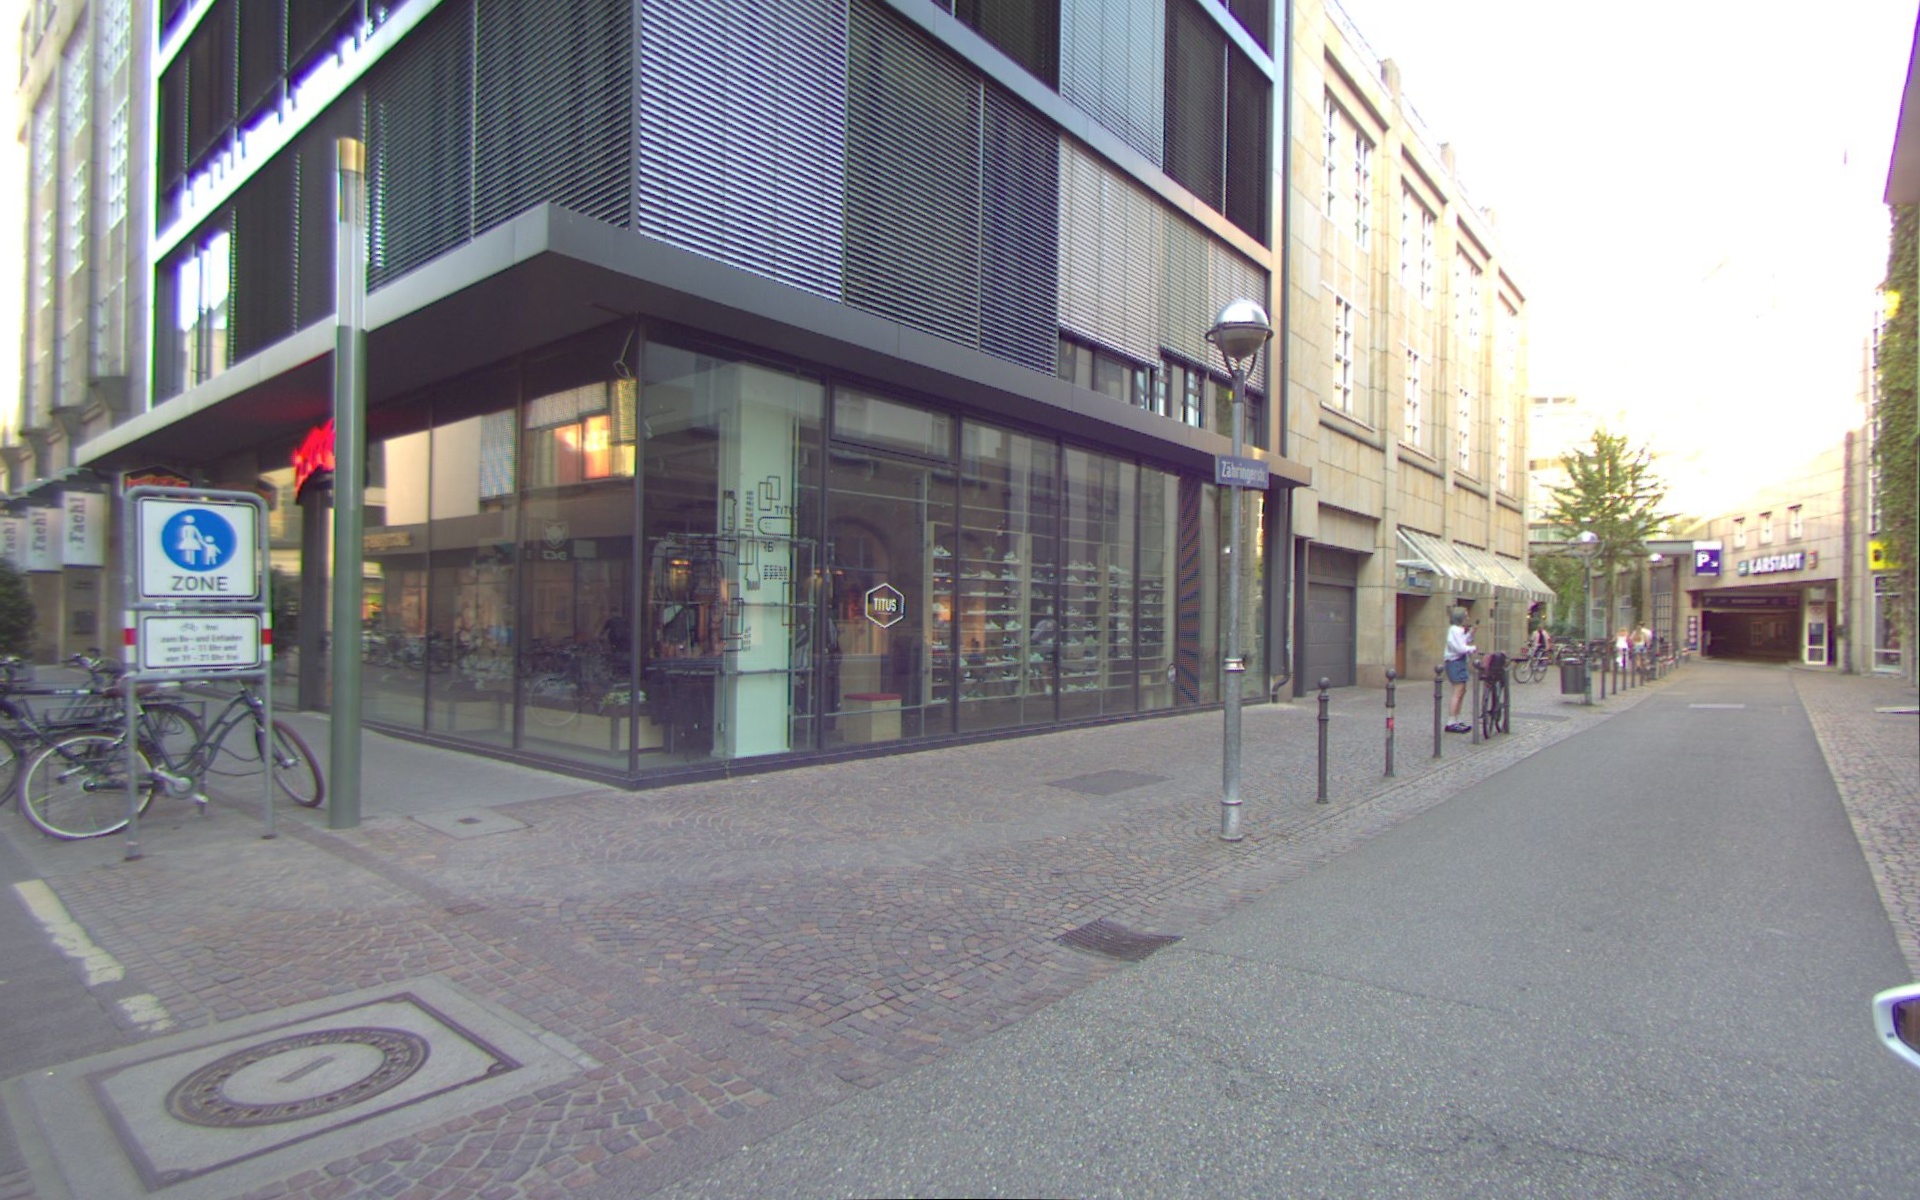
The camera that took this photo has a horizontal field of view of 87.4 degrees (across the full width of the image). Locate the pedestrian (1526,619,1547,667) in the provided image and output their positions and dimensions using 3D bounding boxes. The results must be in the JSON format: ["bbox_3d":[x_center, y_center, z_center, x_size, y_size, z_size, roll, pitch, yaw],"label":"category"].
[{"bbox_3d":[21.543,1.598,37.522,0.646,1.787,0.616,0,-1,26],"label":"pedestrian"}]

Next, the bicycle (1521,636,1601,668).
[{"bbox_3d":[24.535,2.103,41.066,2.713,1.216,0.733,0,-1,22],"label":"bicycle"}]

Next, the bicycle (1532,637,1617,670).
[{"bbox_3d":[23.764,2.069,38.904,2.713,1.216,0.733,0,-1,22],"label":"bicycle"}]

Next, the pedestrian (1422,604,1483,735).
[{"bbox_3d":[7.064,0.969,14.398,0.601,1.814,0.906,0,-1,38],"label":"pedestrian"}]

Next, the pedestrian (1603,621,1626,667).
[{"bbox_3d":[23.470,1.565,36.014,0.583,1.625,0.662,1,-1,41],"label":"pedestrian"}]

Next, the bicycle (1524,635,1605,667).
[{"bbox_3d":[24.215,2.018,40.283,2.713,1.216,0.733,0,-1,22],"label":"bicycle"}]

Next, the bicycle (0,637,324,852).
[{"bbox_3d":[-5.384,0.904,6.870,0.501,1.220,1.663,0,1,39],"label":"bicycle"}]

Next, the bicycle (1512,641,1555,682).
[{"bbox_3d":[16.221,1.717,28.396,2.227,1.095,0.476,2,-1,-44],"label":"bicycle"}]

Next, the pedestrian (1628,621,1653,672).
[{"bbox_3d":[24.552,1.667,36.232,0.623,1.780,0.795,1,-1,41],"label":"pedestrian"}]

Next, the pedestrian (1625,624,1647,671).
[{"bbox_3d":[23.896,1.671,35.508,0.578,1.625,0.624,1,-1,41],"label":"pedestrian"}]

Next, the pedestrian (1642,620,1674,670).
[{"bbox_3d":[25.311,1.631,36.437,0.853,1.780,0.795,1,-1,41],"label":"pedestrian"}]

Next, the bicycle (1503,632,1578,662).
[{"bbox_3d":[25.070,2.032,43.447,2.713,1.216,0.733,0,-1,22],"label":"bicycle"}]

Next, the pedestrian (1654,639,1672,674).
[{"bbox_3d":[24.462,1.962,34.955,0.460,1.183,0.519,1,-1,41],"label":"pedestrian"}]

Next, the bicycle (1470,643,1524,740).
[{"bbox_3d":[7.603,1.249,14.196,0.406,1.248,1.820,0,-1,37],"label":"bicycle"}]

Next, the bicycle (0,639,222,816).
[{"bbox_3d":[-6.746,0.929,7.528,0.509,1.197,1.895,0,0,39],"label":"bicycle"}]

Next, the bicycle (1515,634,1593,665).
[{"bbox_3d":[24.716,2.033,41.856,2.713,1.216,0.757,0,-1,22],"label":"bicycle"}]

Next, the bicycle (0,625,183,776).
[{"bbox_3d":[-8.584,0.927,9.471,0.530,1.286,1.894,0,1,40],"label":"bicycle"}]
